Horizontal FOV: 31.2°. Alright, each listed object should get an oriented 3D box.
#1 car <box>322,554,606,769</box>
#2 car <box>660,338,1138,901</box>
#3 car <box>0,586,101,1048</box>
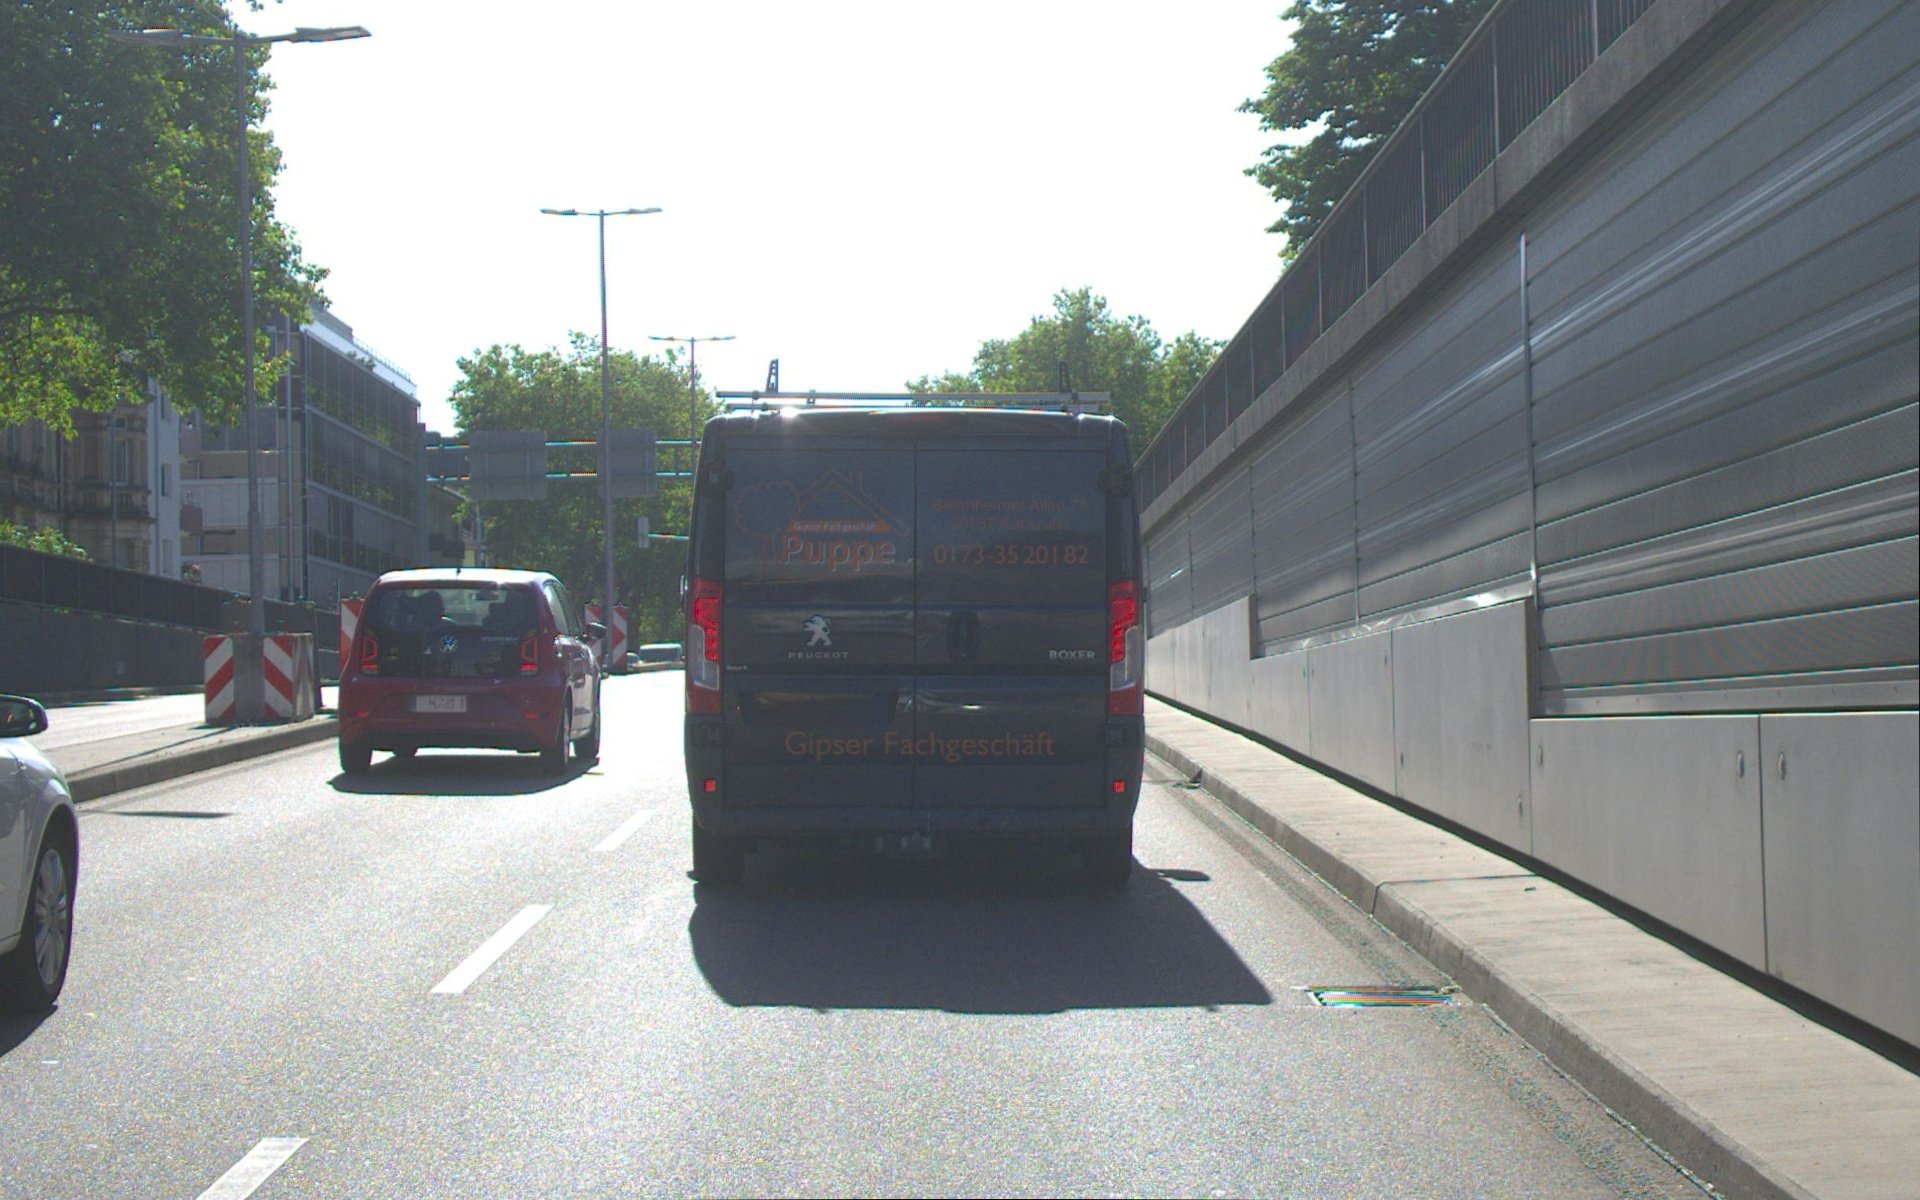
[{"bbox_3d":[-3.618,0.410,25.558,1.689,1.478,3.319,0,1,-1],"label":"car"},{"bbox_3d":[-0.284,0.093,16.665,2.030,2.394,3.973,0,0,-1],"label":"car"},{"bbox_3d":[-3.700,0.647,9.723,1.619,1.398,3.852,0,0,-1],"label":"car"}]
